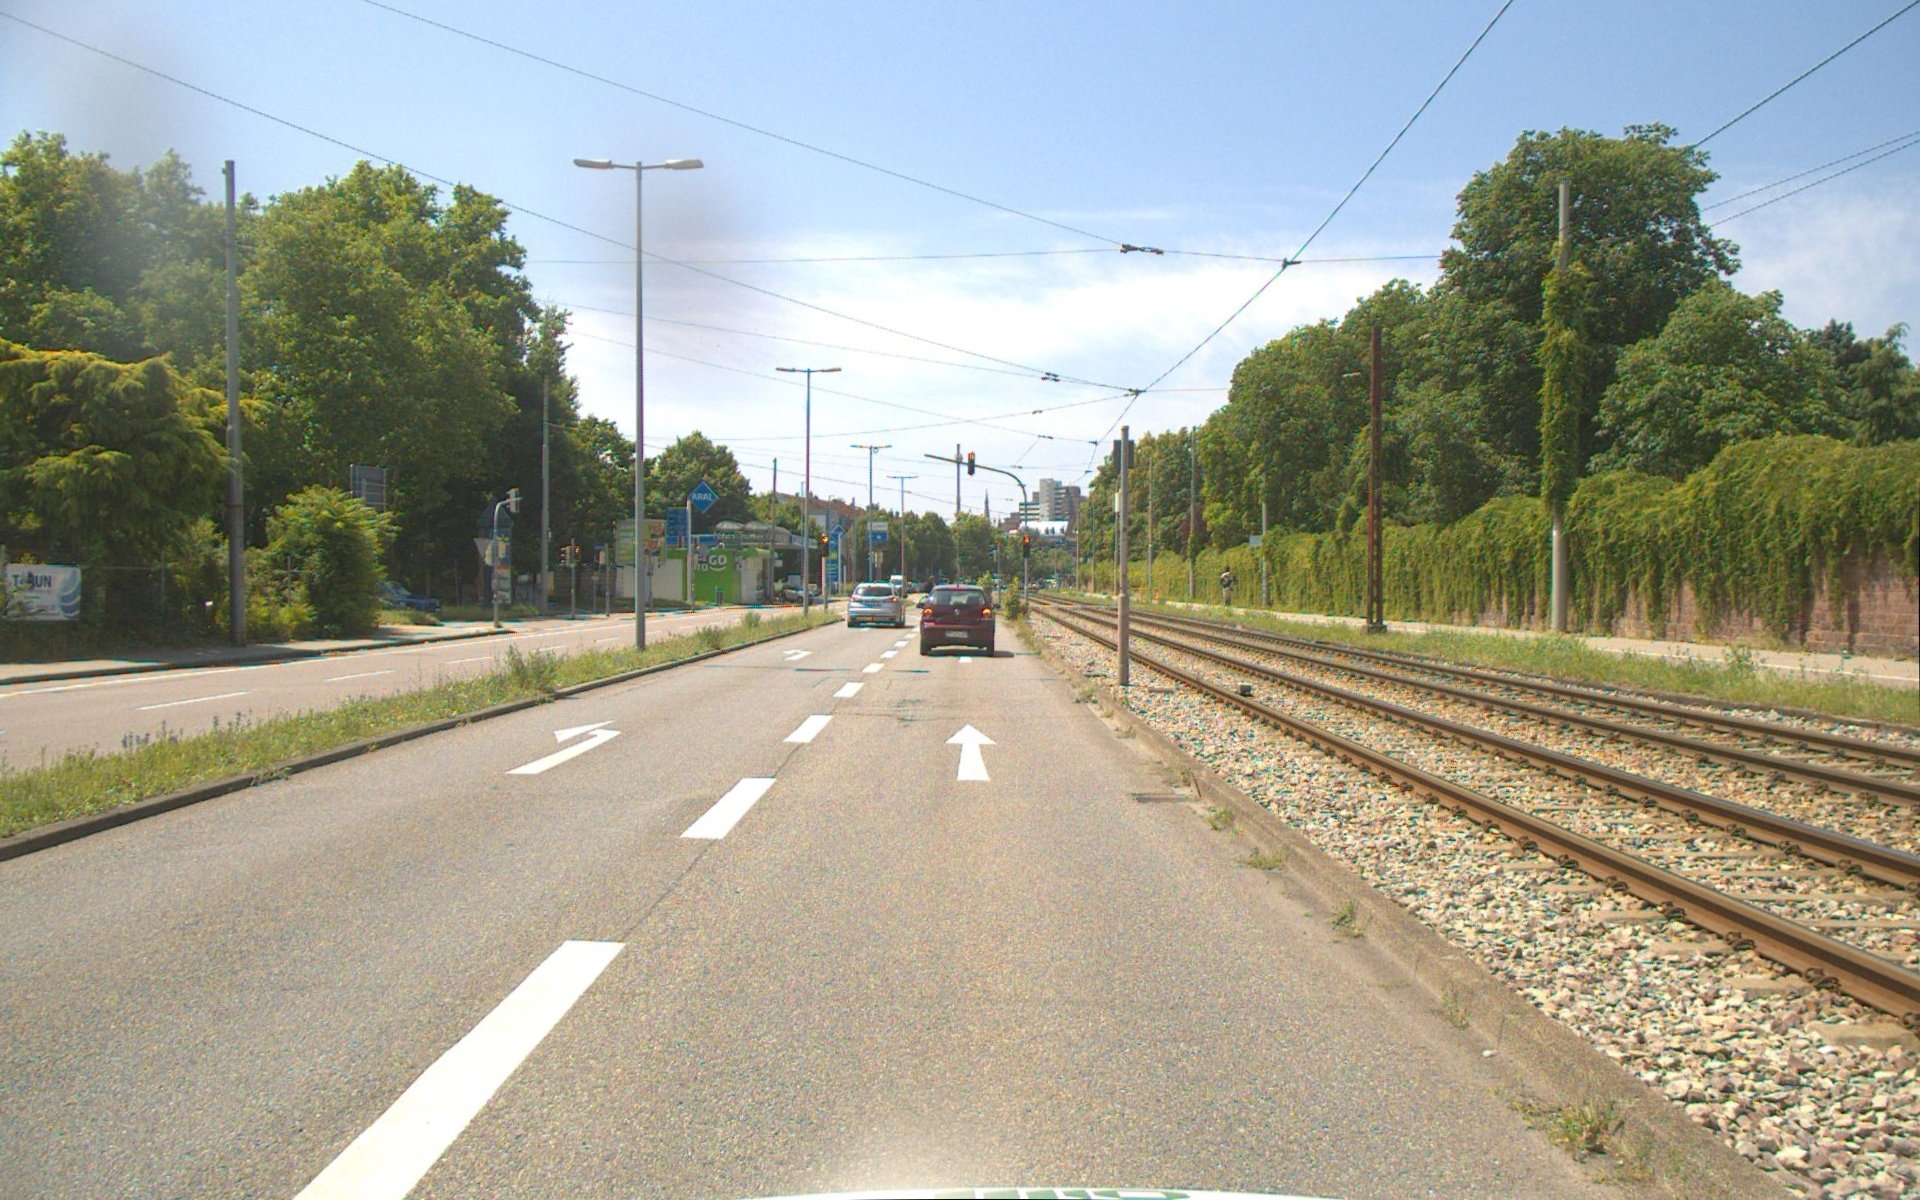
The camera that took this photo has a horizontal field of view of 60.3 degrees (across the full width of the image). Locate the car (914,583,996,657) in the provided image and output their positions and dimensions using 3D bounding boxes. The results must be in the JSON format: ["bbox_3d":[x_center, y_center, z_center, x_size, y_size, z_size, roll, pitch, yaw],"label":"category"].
[{"bbox_3d":[-0.146,0.388,35.770,1.668,1.503,3.715,1,1,-1],"label":"car"}]

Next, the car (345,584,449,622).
[{"bbox_3d":[-24.417,0.142,71.758,3.901,1.607,1.773,0,0,11],"label":"car"}]

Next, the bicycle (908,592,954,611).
[{"bbox_3d":[-1.644,0.099,94.378,2.503,1.056,1.085,1,-1,-9],"label":"bicycle"}]

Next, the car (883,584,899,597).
[{"bbox_3d":[-8.923,-1.212,213.936,1.954,1.624,3.996,1,-1,-5],"label":"car"}]

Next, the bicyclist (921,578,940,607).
[{"bbox_3d":[-1.685,-0.401,94.399,0.927,1.621,1.085,1,-1,-9],"label":"bicyclist"}]

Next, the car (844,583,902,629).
[{"bbox_3d":[-2.921,0.203,55.904,1.667,1.506,3.717,1,0,1],"label":"car"}]

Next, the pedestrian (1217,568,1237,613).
[{"bbox_3d":[10.685,-0.386,66.229,0.648,1.756,0.816,0,0,-1],"label":"pedestrian"}]
